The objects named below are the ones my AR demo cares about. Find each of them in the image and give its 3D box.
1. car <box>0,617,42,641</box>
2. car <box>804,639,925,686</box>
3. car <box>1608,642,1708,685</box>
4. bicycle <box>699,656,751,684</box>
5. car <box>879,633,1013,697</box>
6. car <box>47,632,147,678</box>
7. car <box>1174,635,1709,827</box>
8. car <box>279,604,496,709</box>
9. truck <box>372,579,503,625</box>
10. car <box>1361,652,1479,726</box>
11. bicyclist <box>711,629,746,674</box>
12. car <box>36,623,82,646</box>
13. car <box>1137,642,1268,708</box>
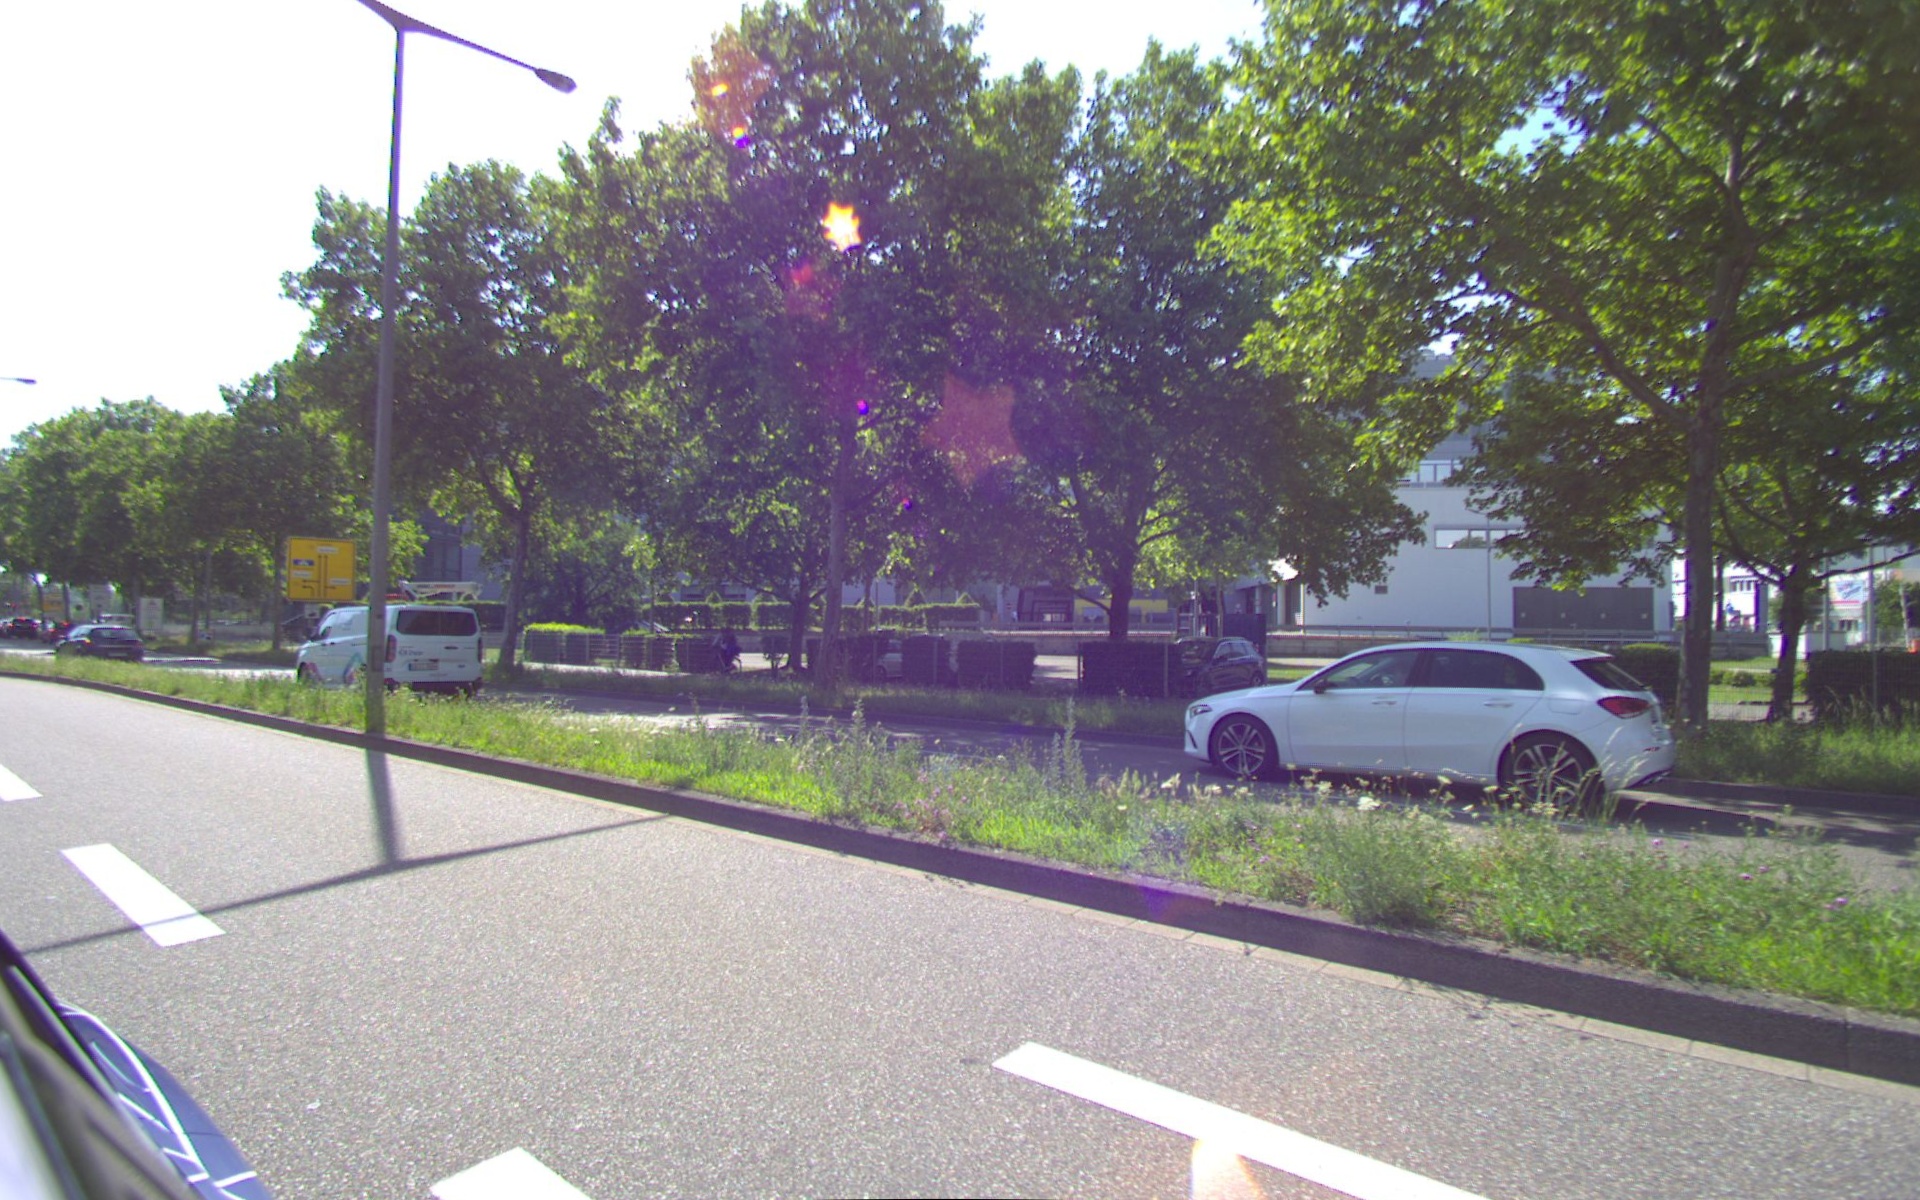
[{"bbox_3d":[-77.257,2.419,83.229,4.648,1.849,1.973,-2,-4,41],"label":"car"},{"bbox_3d":[-3.176,2.077,34.344,1.772,1.475,3.945,-2,-3,41],"label":"car"},{"bbox_3d":[27.524,2.483,39.898,3.933,1.516,1.810,0,-4,-33],"label":"car"},{"bbox_3d":[-7.878,2.324,33.836,1.925,0.873,0.682,-1,-3,41],"label":"bicycle"},{"bbox_3d":[-0.407,2.020,32.649,2.157,1.836,3.942,-1,-1,44],"label":"car"},{"bbox_3d":[-29.380,1.833,34.425,4.277,1.480,1.751,-1,-3,38],"label":"car"},{"bbox_3d":[4.444,1.078,9.767,4.356,1.409,1.768,-1,-3,41],"label":"car"},{"bbox_3d":[-11.918,1.123,20.899,5.414,1.898,2.095,-2,-3,40],"label":"car"},{"bbox_3d":[-40.181,0.175,77.900,8.875,3.421,2.669,0,-2,5],"label":"truck"},{"bbox_3d":[10.743,1.991,23.508,1.801,1.424,3.952,0,-1,35],"label":"car"},{"bbox_3d":[-7.721,1.710,33.727,0.941,1.496,0.674,-1,-3,41],"label":"bicyclist"},{"bbox_3d":[-60.660,2.320,68.110,3.998,1.473,1.745,-1,-4,41],"label":"car"},{"bbox_3d":[6.548,1.946,27.065,1.868,1.614,3.946,-2,-3,40],"label":"car"}]
